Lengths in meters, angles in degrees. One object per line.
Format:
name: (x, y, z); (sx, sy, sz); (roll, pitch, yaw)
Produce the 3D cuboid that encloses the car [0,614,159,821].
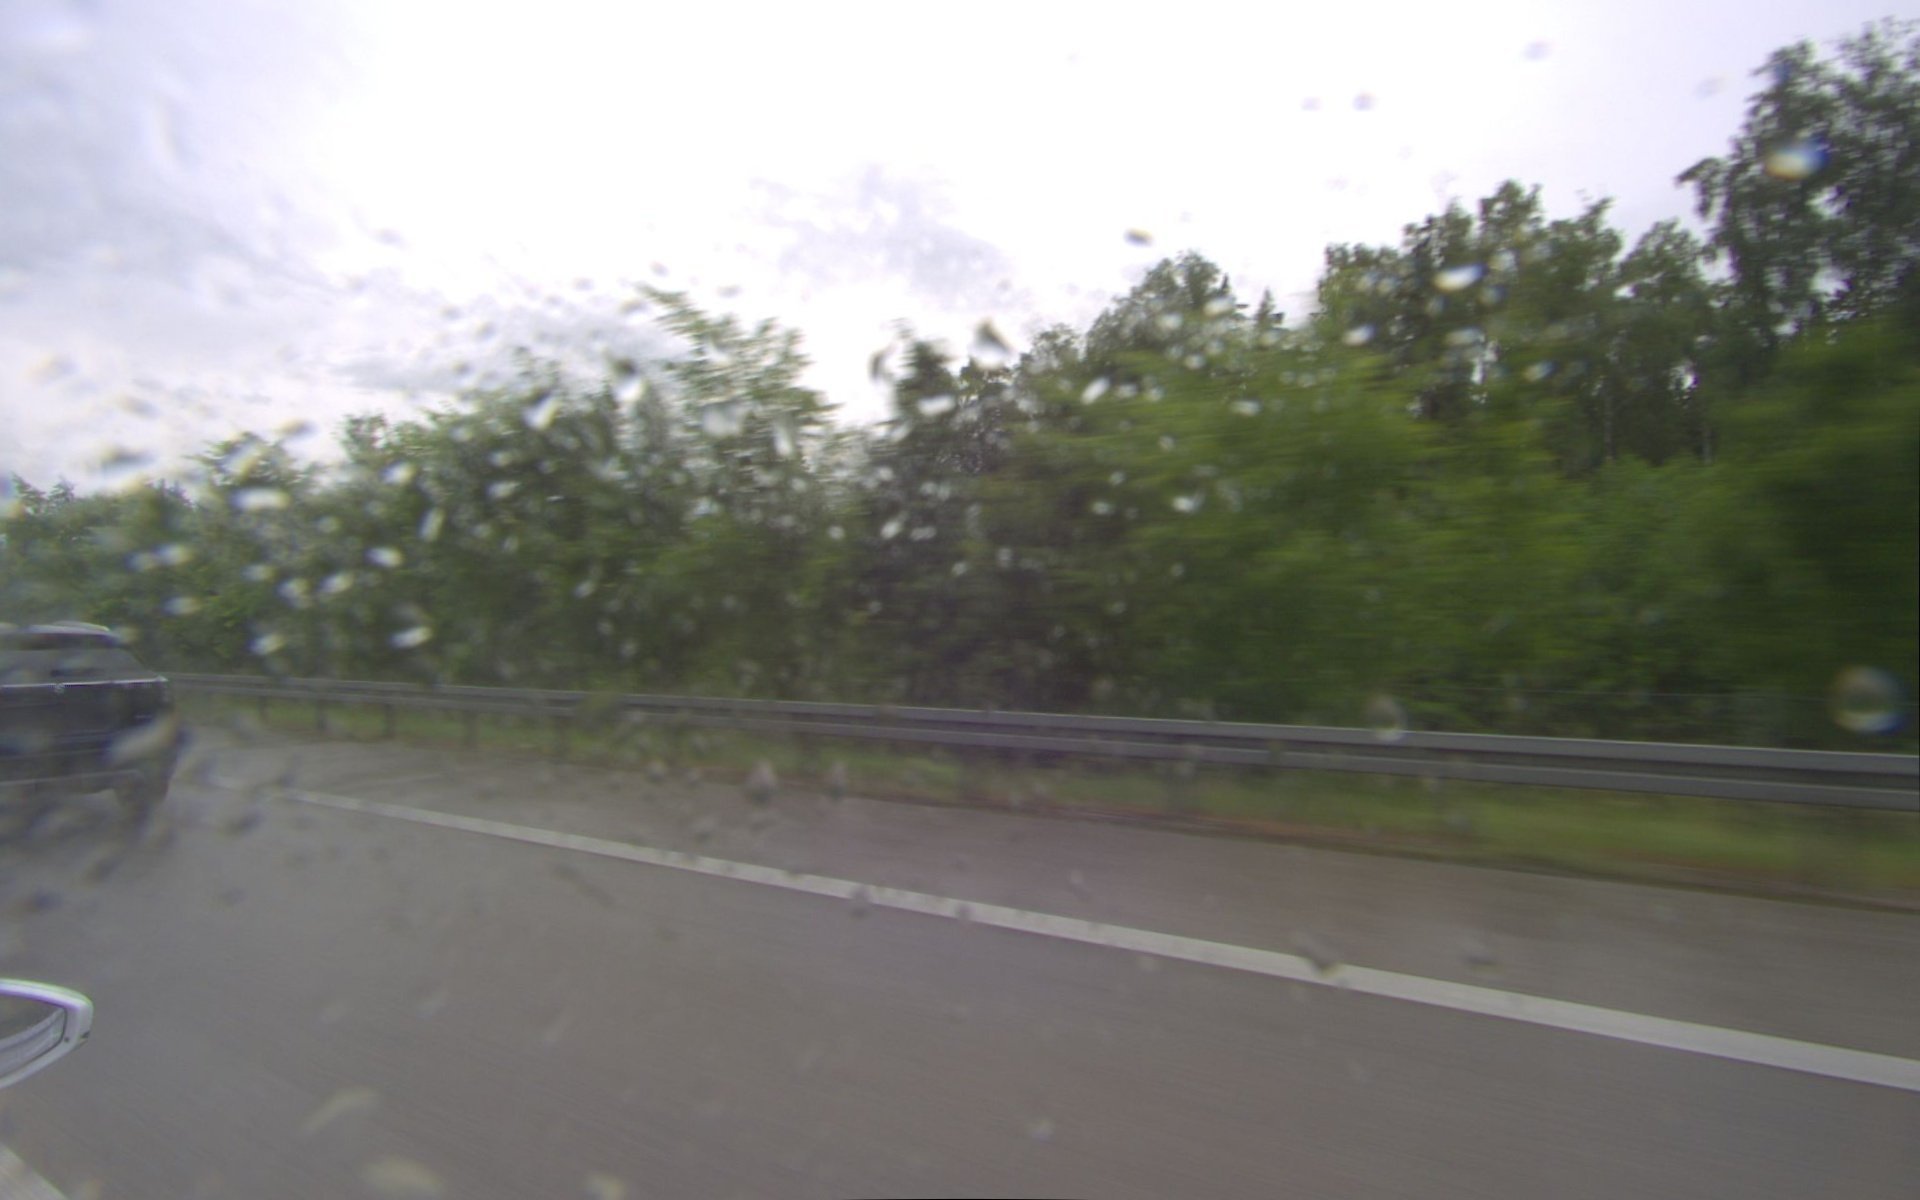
car: (-8.861, 0.938, 8.787); (3.582, 1.596, 1.890); (-1, -2, 34)
